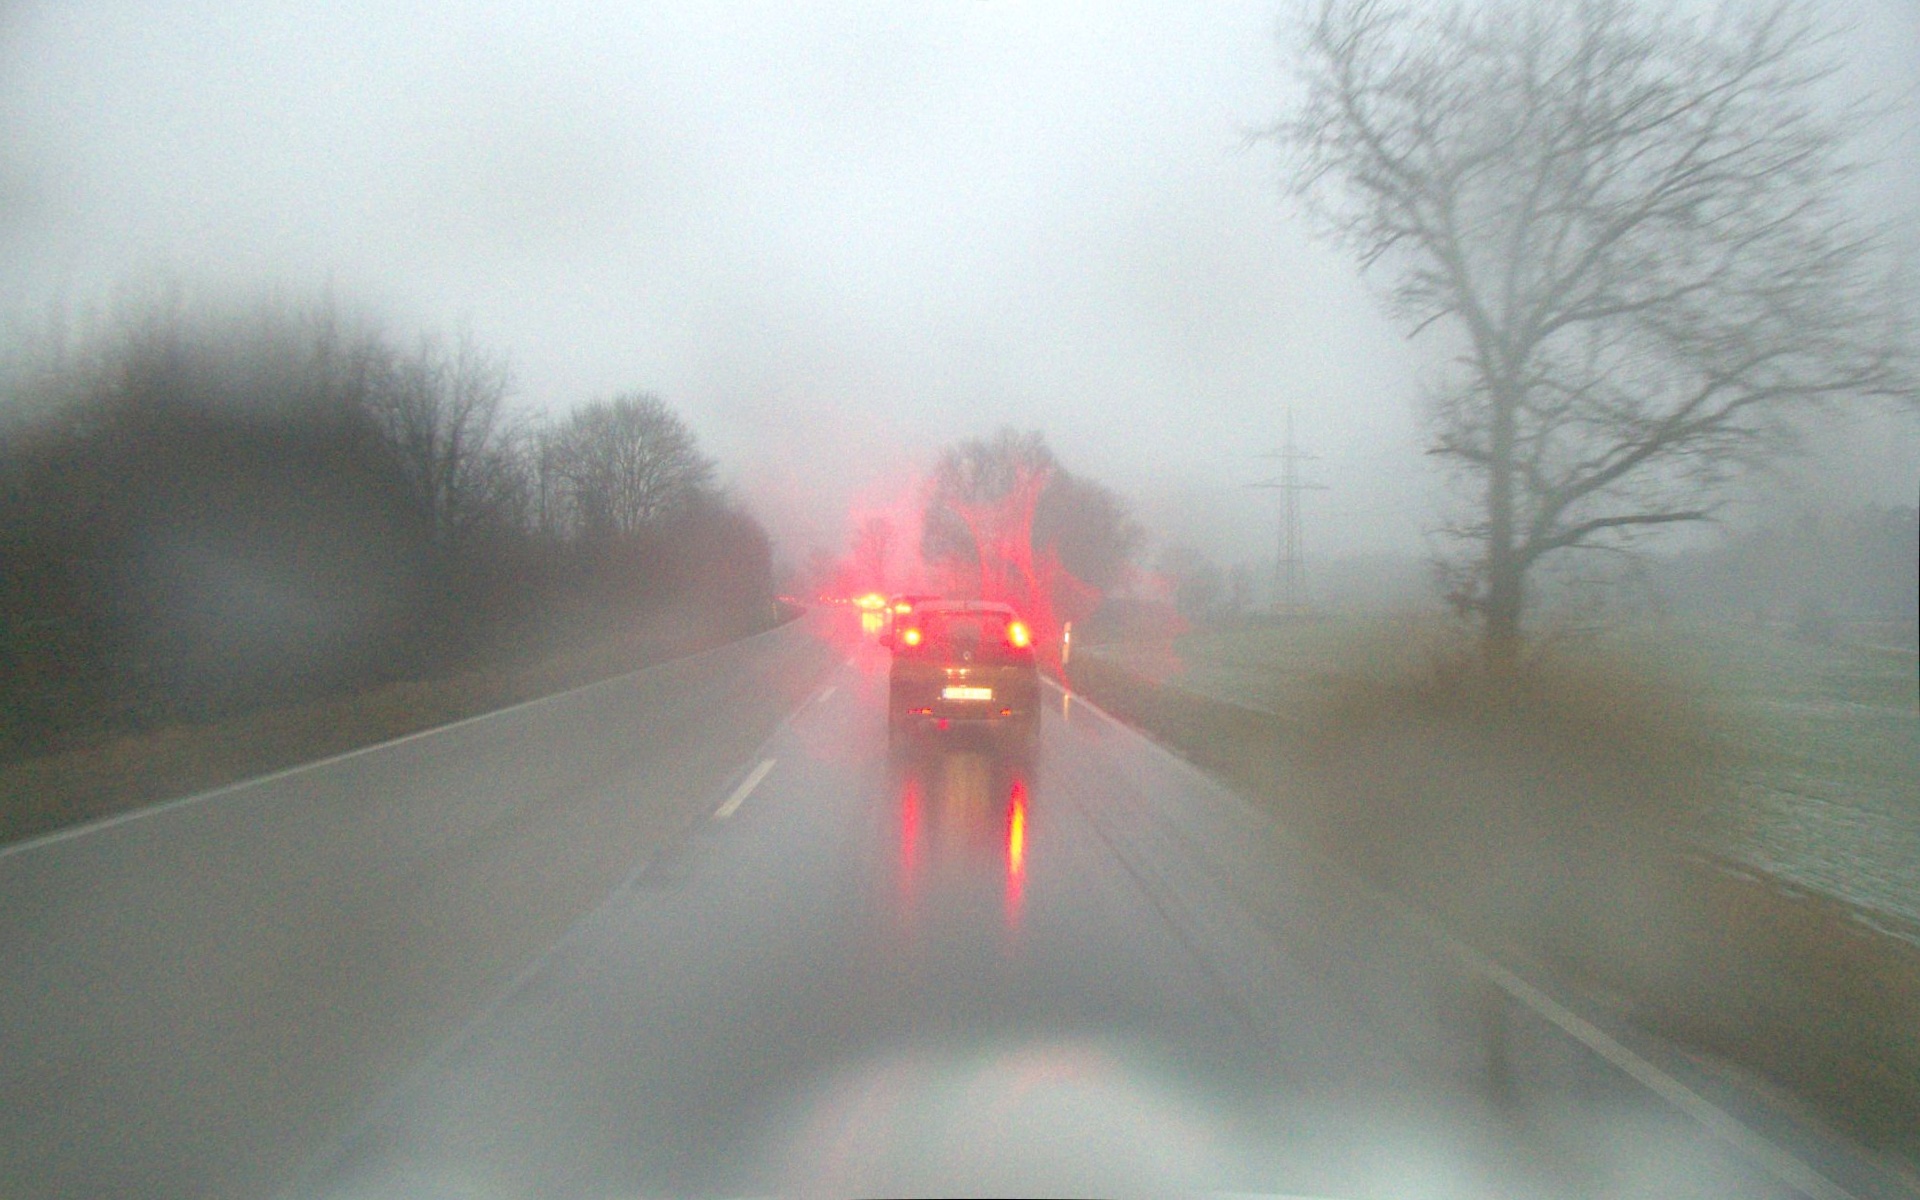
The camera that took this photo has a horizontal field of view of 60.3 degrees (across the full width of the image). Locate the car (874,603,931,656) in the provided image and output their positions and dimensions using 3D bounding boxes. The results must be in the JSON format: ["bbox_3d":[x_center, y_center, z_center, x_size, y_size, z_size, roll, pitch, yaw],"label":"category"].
[{"bbox_3d":[-1.667,0.808,46.991,1.516,1.421,3.867,1,0,-3],"label":"car"}]

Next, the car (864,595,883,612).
[{"bbox_3d":[-7.410,0.321,141.967,1.516,1.421,3.867,1,0,-3],"label":"car"}]

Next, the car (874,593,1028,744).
[{"bbox_3d":[-0.116,0.719,19.153,1.570,1.549,3.869,1,0,-1],"label":"car"}]
